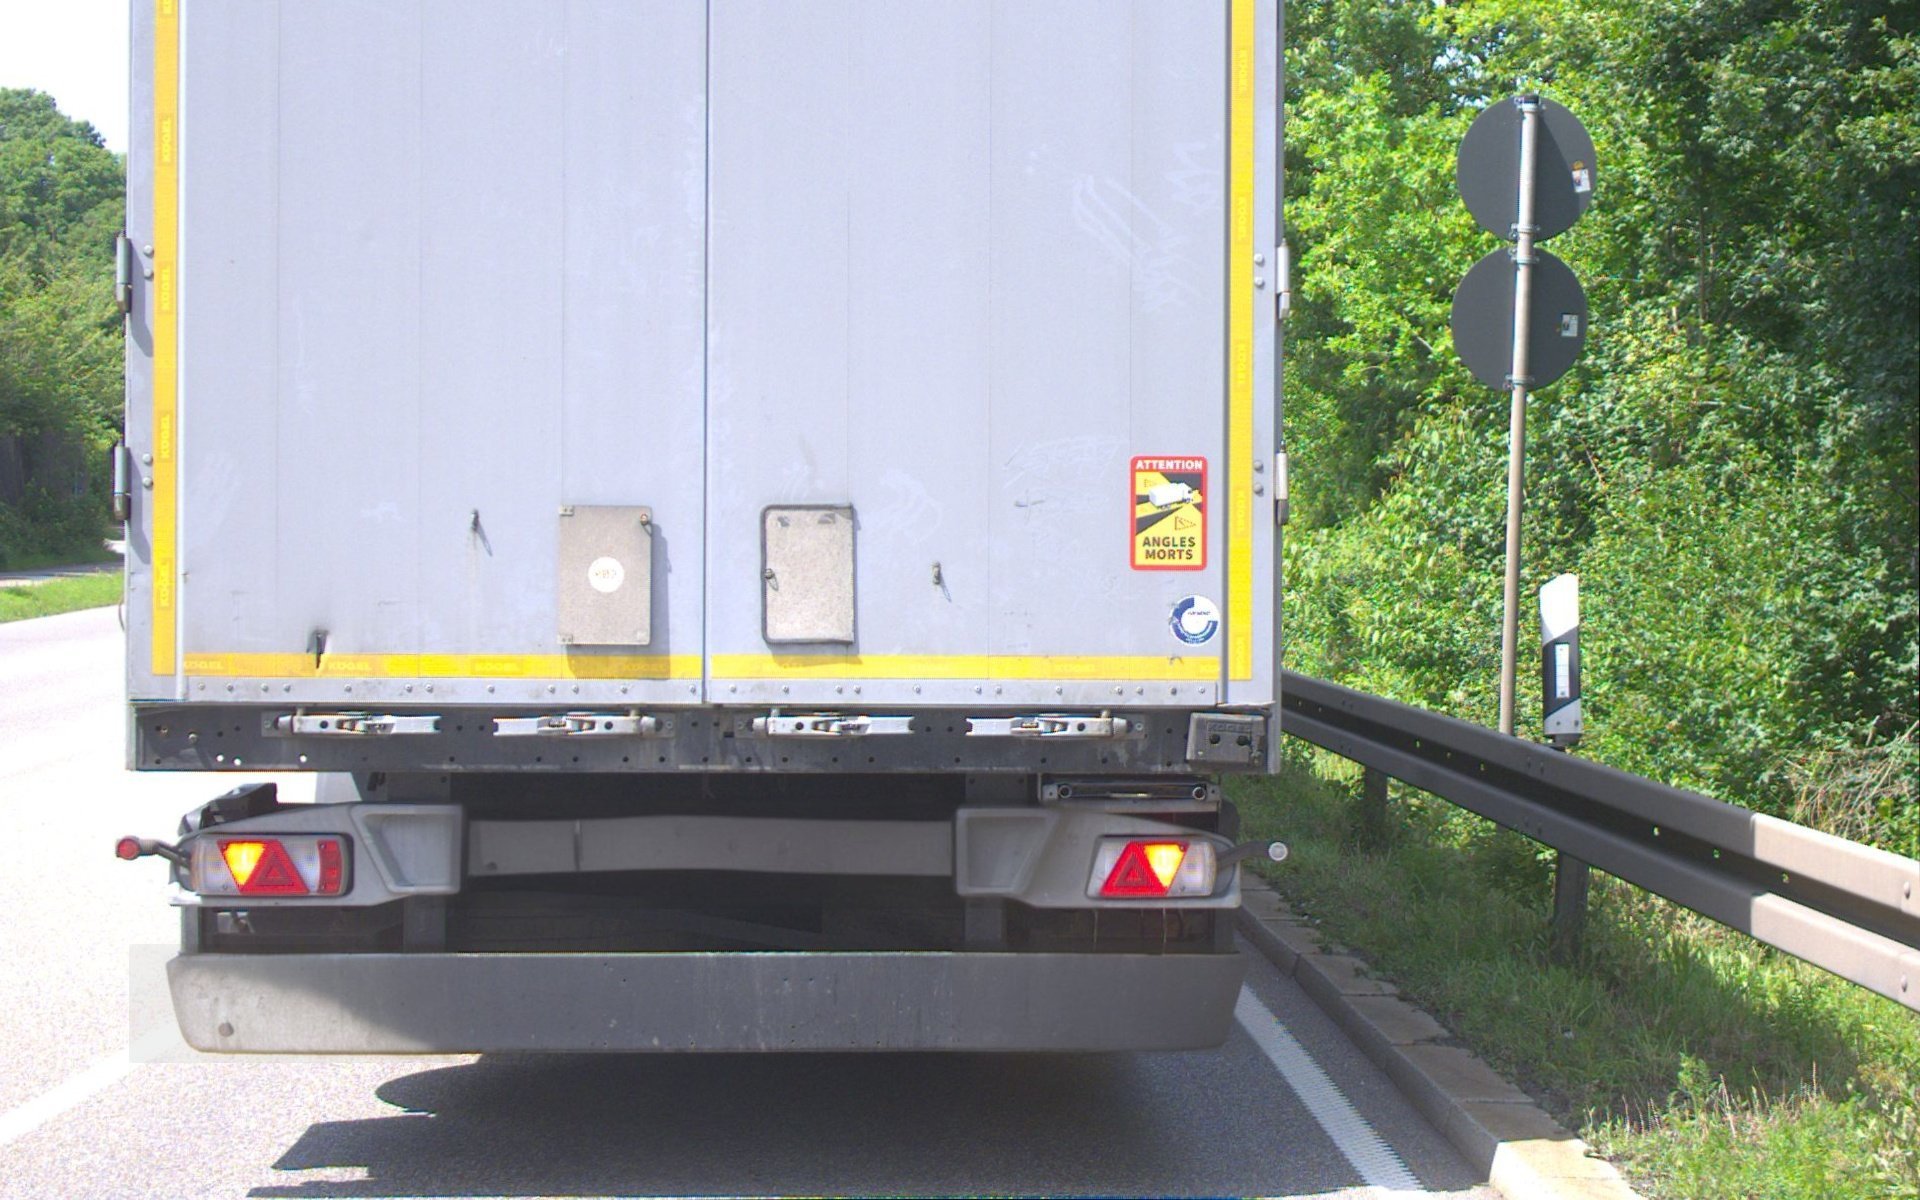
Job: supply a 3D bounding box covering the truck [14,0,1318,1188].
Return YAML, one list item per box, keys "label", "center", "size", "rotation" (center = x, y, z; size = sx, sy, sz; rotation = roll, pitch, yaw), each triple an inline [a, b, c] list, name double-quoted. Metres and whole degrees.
- label: "truck"
  center: [-0.758, -0.888, 13.254]
  size: [2.757, 4.016, 11.925]
  rotation: [0, 1, -1]
